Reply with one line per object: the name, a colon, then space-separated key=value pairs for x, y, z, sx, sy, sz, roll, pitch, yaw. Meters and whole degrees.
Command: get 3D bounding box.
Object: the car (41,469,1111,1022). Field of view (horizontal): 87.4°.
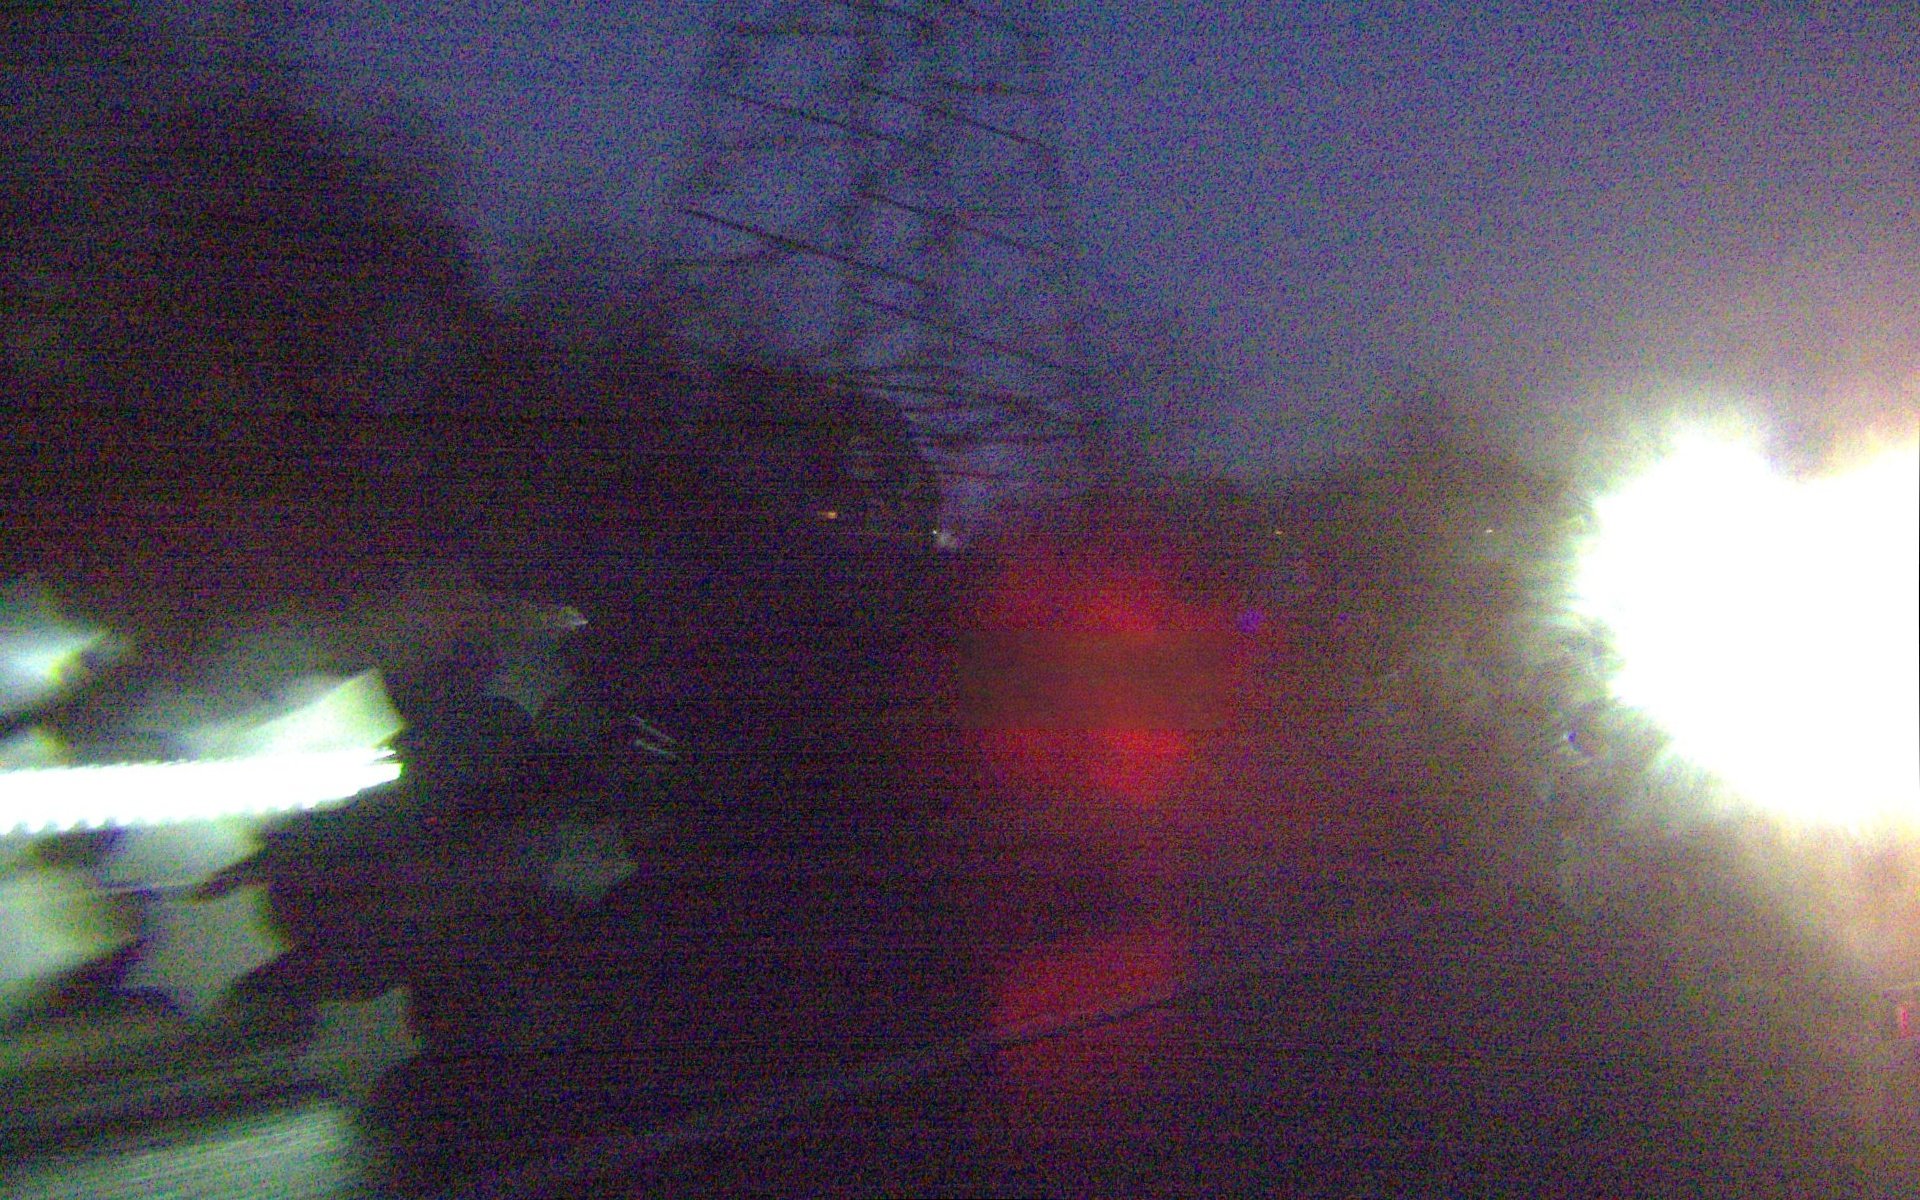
car: x=-1.556 y=0.525 z=5.484 sx=4.919 sy=1.770 sz=1.845 roll=2 pitch=-1 yaw=-38
